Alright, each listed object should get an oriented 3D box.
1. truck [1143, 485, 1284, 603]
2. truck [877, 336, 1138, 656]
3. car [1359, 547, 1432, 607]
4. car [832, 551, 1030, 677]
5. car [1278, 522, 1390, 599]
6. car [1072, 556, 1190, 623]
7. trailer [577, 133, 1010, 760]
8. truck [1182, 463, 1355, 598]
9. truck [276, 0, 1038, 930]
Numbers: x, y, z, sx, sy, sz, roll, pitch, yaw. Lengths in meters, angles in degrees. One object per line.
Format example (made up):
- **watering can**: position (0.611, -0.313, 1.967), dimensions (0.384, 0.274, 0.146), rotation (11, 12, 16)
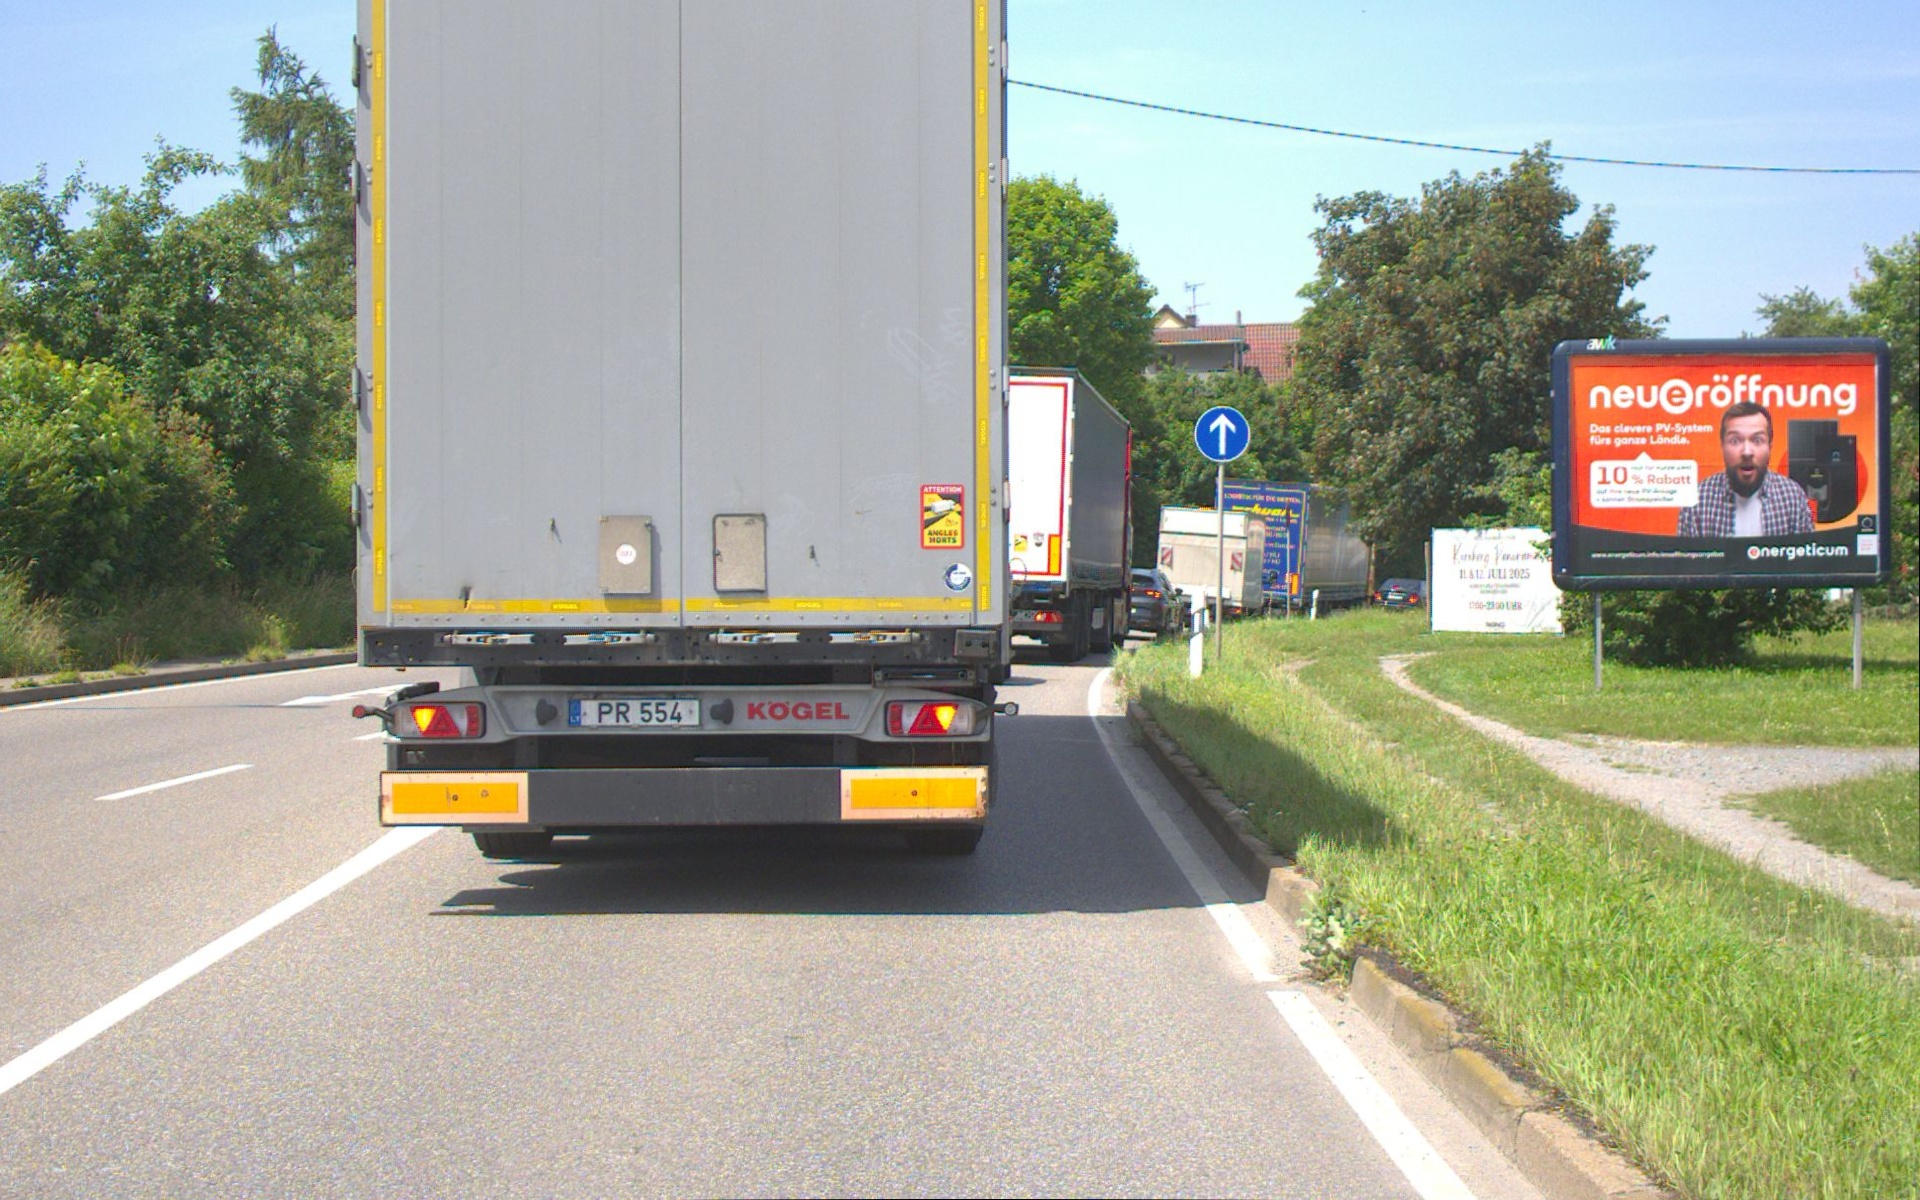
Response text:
- **truck**: position (6.359, -1.344, 85.401), dimensions (2.545, 2.793, 6.028), rotation (1, 0, 13)
- **truck**: position (1.059, -1.433, 54.454), dimensions (2.761, 4.274, 16.412), rotation (1, 0, 5)
- **car**: position (15.127, -0.781, 119.140), dimensions (1.995, 2.007, 3.997), rotation (1, 0, 14)
- **car**: position (-0.282, 0.150, 39.408), dimensions (1.819, 1.342, 3.846), rotation (1, 0, 6)
- **car**: position (11.675, -1.255, 106.956), dimensions (2.533, 2.269, 6.377), rotation (1, 1, 14)
- **car**: position (3.713, -0.234, 73.967), dimensions (1.994, 1.371, 3.998), rotation (1, 0, 11)
- **trailer**: position (-1.095, -1.075, 25.864), dimensions (2.825, 4.097, 6.544), rotation (0, 1, 0)
- **truck**: position (8.802, -1.989, 96.930), dimensions (3.435, 3.592, 9.348), rotation (1, 1, 14)
- **truck**: position (-1.116, -0.956, 18.642), dimensions (2.822, 4.113, 11.444), rotation (1, 1, 0)
